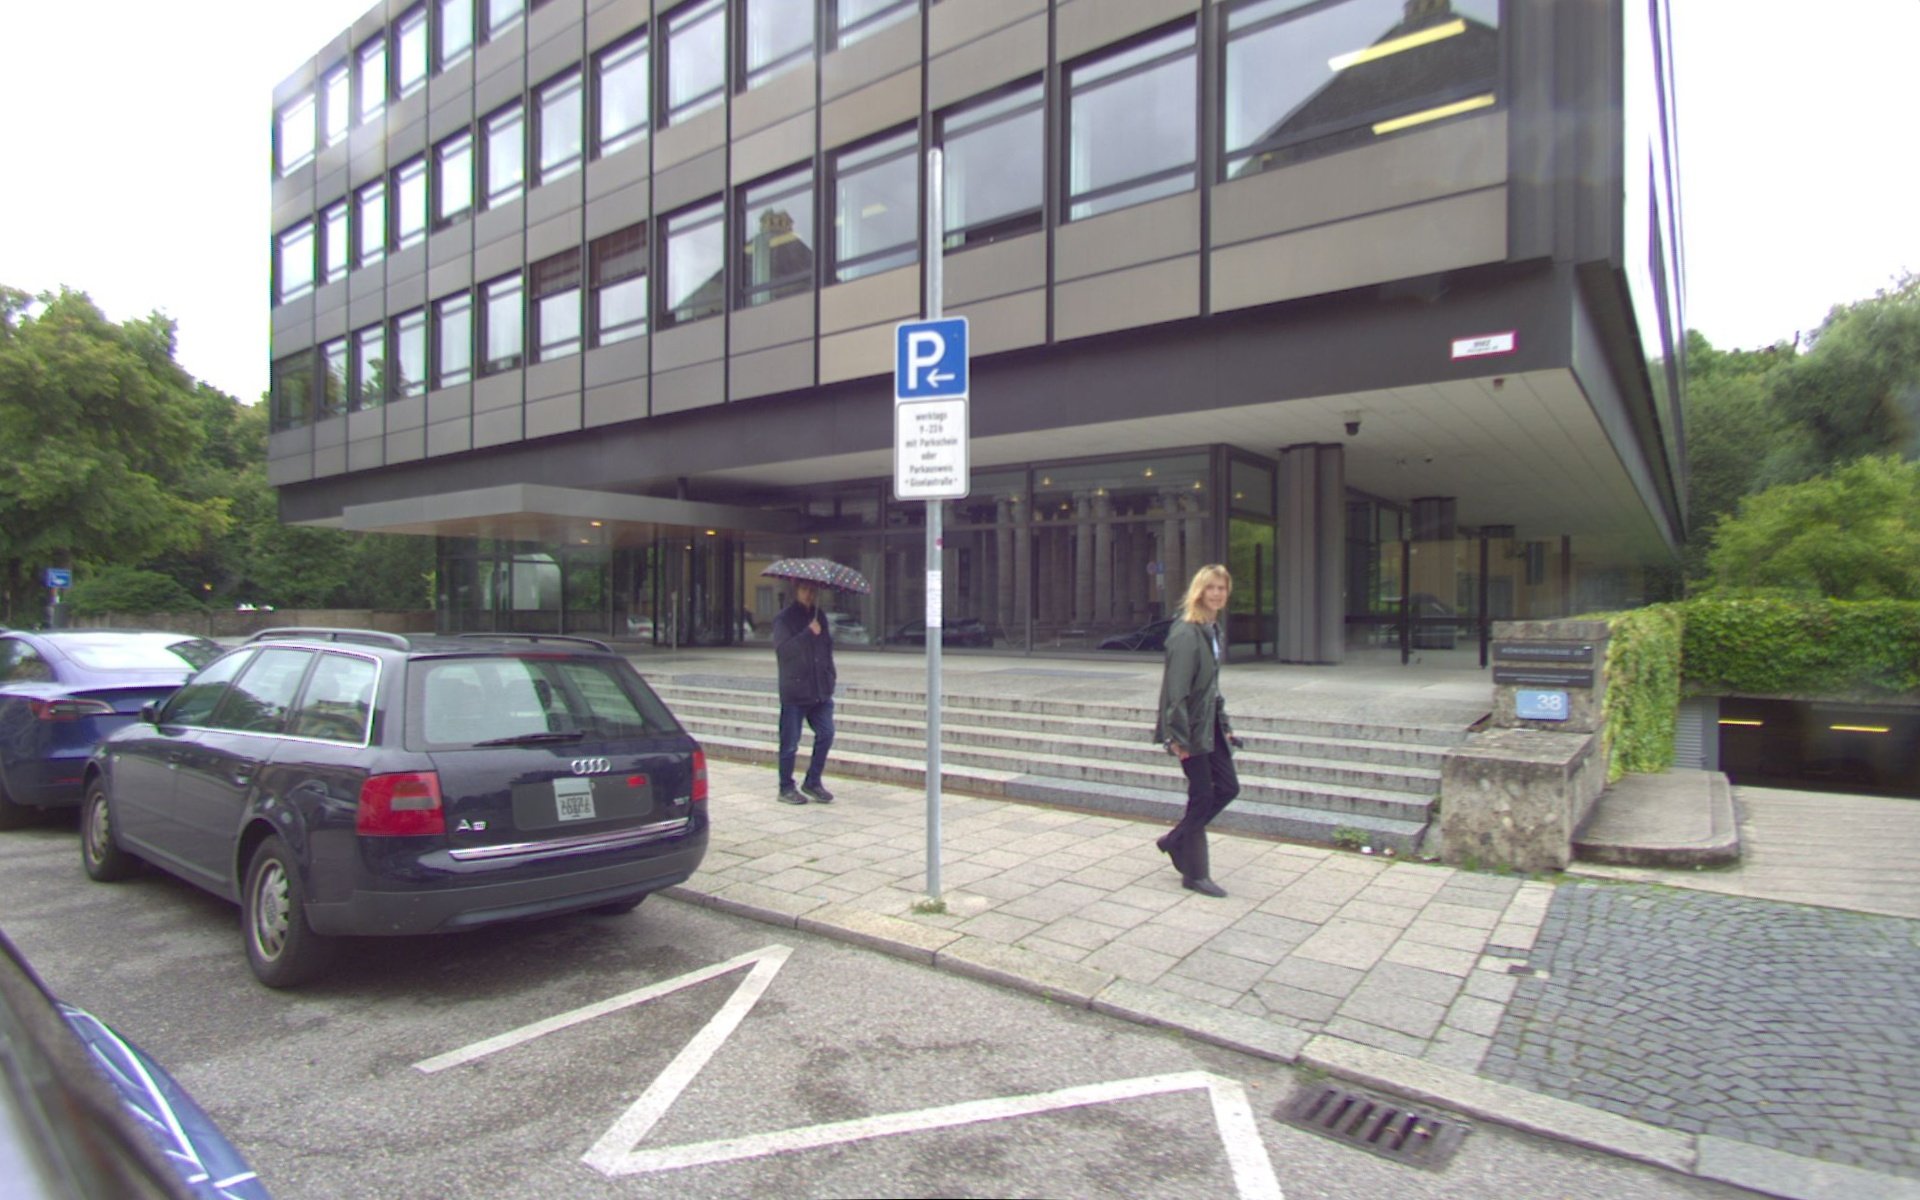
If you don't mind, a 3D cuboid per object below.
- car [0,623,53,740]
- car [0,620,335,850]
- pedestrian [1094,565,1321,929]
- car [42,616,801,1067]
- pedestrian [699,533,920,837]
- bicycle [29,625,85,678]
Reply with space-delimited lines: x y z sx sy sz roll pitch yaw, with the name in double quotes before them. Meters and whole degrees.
"car" -14.092 1.041 13.892 4.231 1.472 1.723 -1 -3 39
"car" -7.577 0.926 8.771 4.907 1.450 1.906 0 -2 36
"pedestrian" 1.341 0.717 5.506 0.953 1.762 0.744 -1 -1 43
"car" -3.305 0.865 5.714 4.877 1.502 1.974 -1 -2 38
"pedestrian" -1.133 0.595 7.719 1.219 2.070 1.125 -1 -2 36
"bicycle" -20.947 1.175 23.471 1.524 1.173 0.637 -1 1 36
